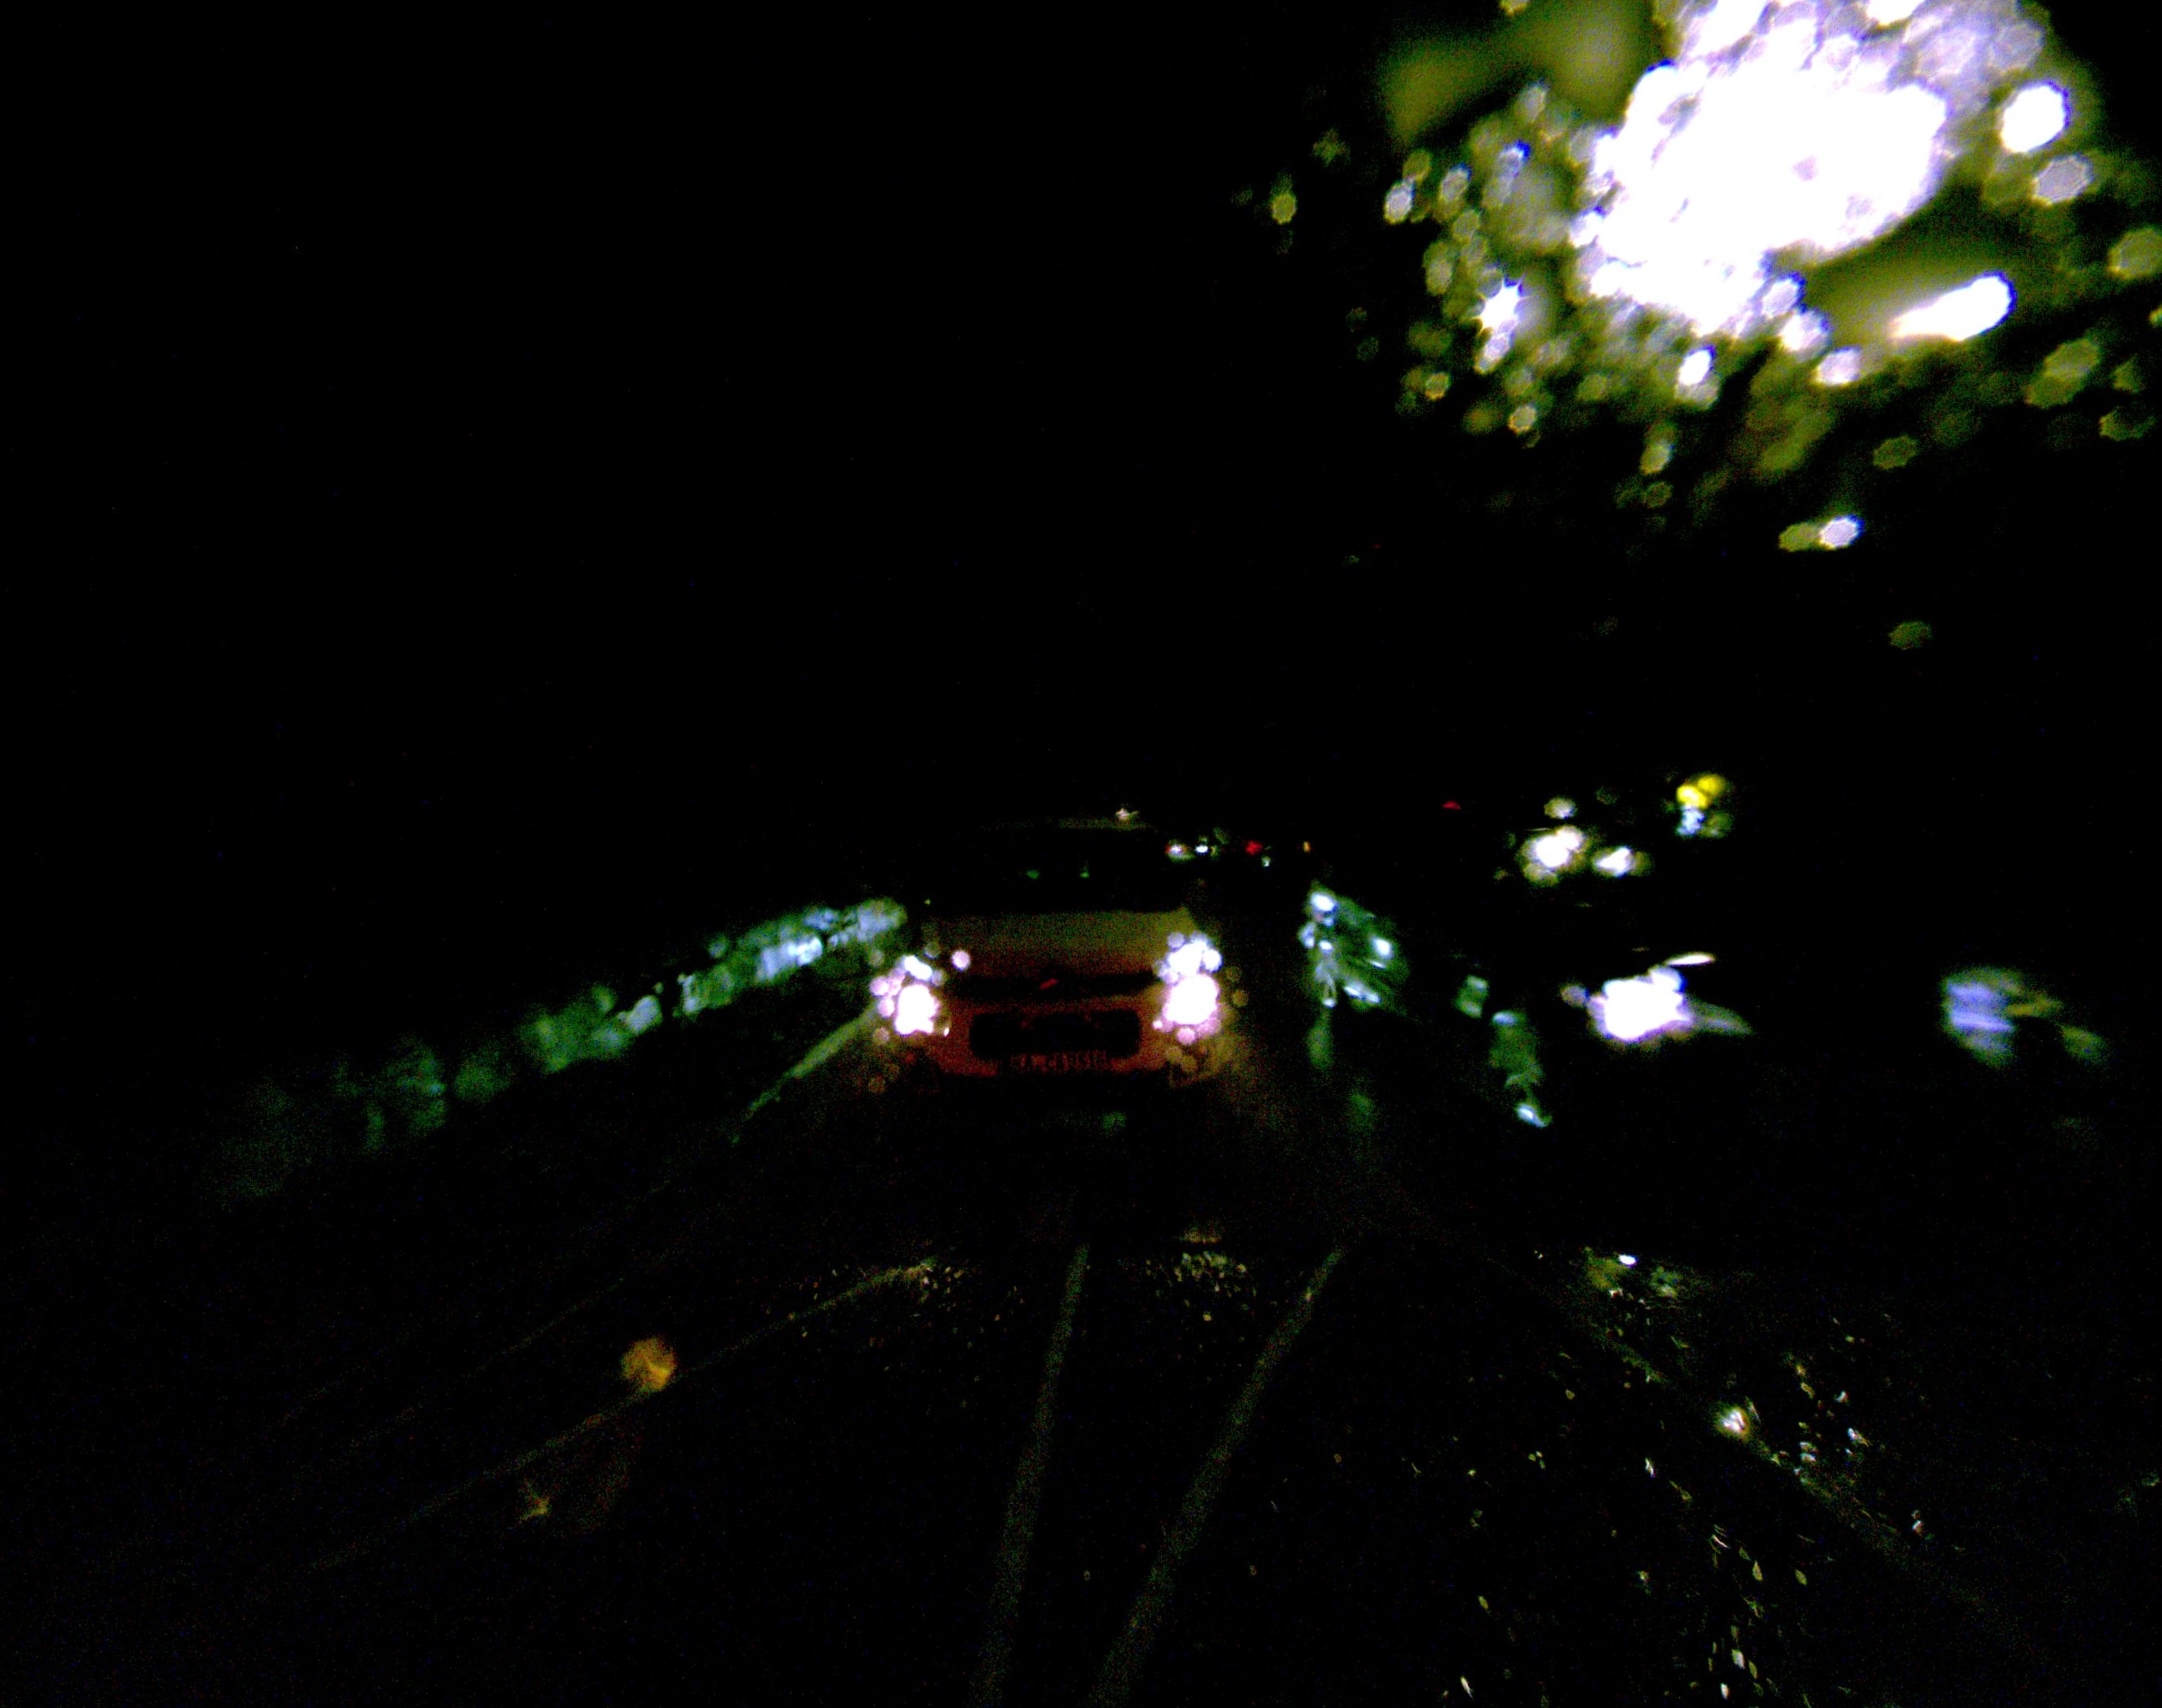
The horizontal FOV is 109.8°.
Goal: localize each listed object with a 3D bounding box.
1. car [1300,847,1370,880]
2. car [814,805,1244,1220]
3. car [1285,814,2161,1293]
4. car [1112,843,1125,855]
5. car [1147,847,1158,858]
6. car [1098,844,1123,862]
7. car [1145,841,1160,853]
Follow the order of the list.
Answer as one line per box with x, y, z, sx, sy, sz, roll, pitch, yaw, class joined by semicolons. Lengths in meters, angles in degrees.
12.553;0.434;37.808;1.658;1.490;4.372;1;1;-5;car
-0.108;0.676;5.472;1.877;1.825;4.205;-1;1;4;car
3.011;0.681;5.184;1.914;1.694;4.938;-1;1;0;car
6.551;-0.821;130.946;1.998;2.002;4.001;-1;1;6;car
14.304;-0.324;152.563;1.997;2.002;4.001;-1;2;7;car
2.685;-0.113;69.105;1.999;1.456;3.998;-1;2;-1;car
9.936;-0.976;105.478;1.750;1.495;4.891;-1;2;1;car
